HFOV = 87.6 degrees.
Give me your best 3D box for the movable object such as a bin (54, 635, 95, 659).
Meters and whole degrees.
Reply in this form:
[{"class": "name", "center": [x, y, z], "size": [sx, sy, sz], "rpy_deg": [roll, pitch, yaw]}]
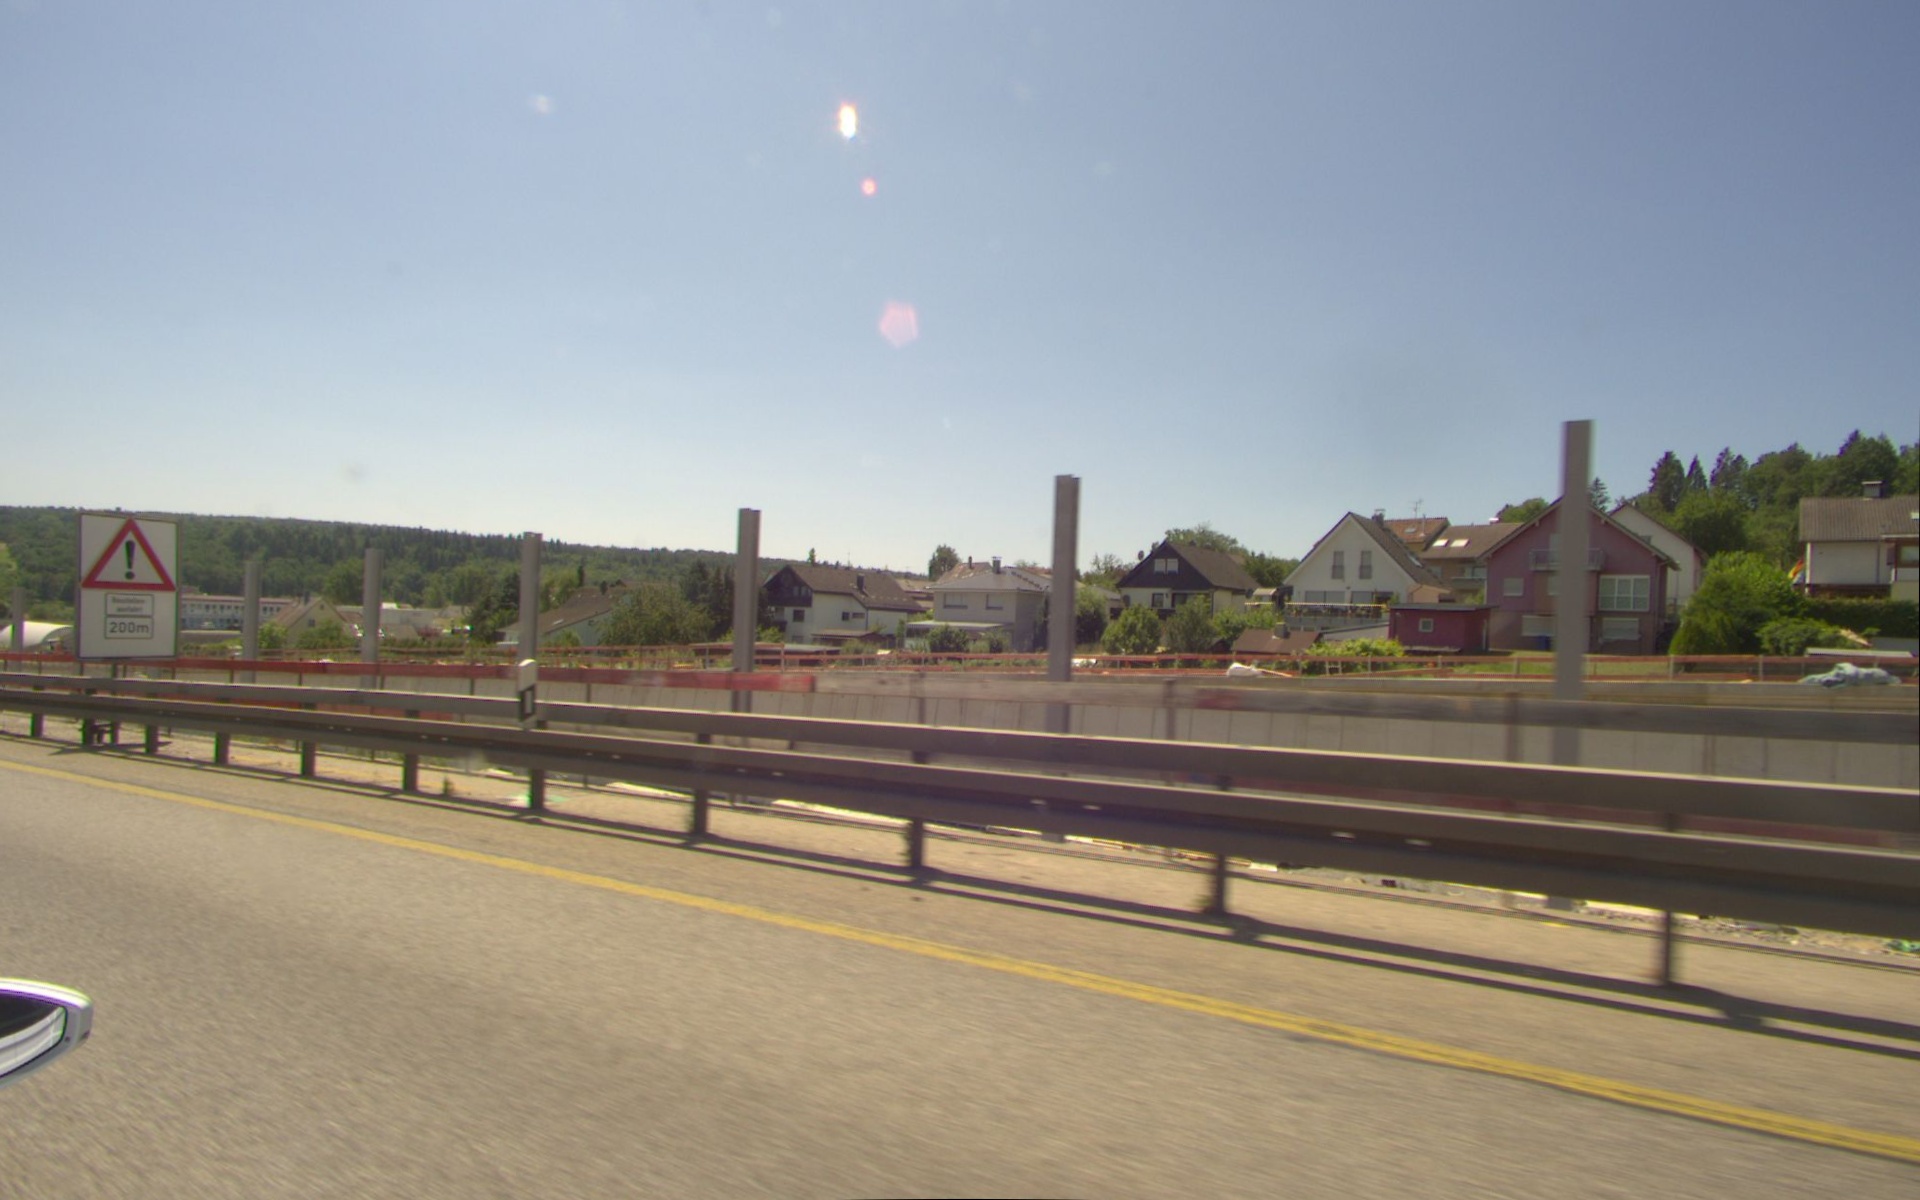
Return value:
[{"class": "movable object such as a bin", "center": [-86.398, 4.578, 97.654], "size": [4.094, 2.267, 1.990], "rpy_deg": [-1, -2, 33]}]
